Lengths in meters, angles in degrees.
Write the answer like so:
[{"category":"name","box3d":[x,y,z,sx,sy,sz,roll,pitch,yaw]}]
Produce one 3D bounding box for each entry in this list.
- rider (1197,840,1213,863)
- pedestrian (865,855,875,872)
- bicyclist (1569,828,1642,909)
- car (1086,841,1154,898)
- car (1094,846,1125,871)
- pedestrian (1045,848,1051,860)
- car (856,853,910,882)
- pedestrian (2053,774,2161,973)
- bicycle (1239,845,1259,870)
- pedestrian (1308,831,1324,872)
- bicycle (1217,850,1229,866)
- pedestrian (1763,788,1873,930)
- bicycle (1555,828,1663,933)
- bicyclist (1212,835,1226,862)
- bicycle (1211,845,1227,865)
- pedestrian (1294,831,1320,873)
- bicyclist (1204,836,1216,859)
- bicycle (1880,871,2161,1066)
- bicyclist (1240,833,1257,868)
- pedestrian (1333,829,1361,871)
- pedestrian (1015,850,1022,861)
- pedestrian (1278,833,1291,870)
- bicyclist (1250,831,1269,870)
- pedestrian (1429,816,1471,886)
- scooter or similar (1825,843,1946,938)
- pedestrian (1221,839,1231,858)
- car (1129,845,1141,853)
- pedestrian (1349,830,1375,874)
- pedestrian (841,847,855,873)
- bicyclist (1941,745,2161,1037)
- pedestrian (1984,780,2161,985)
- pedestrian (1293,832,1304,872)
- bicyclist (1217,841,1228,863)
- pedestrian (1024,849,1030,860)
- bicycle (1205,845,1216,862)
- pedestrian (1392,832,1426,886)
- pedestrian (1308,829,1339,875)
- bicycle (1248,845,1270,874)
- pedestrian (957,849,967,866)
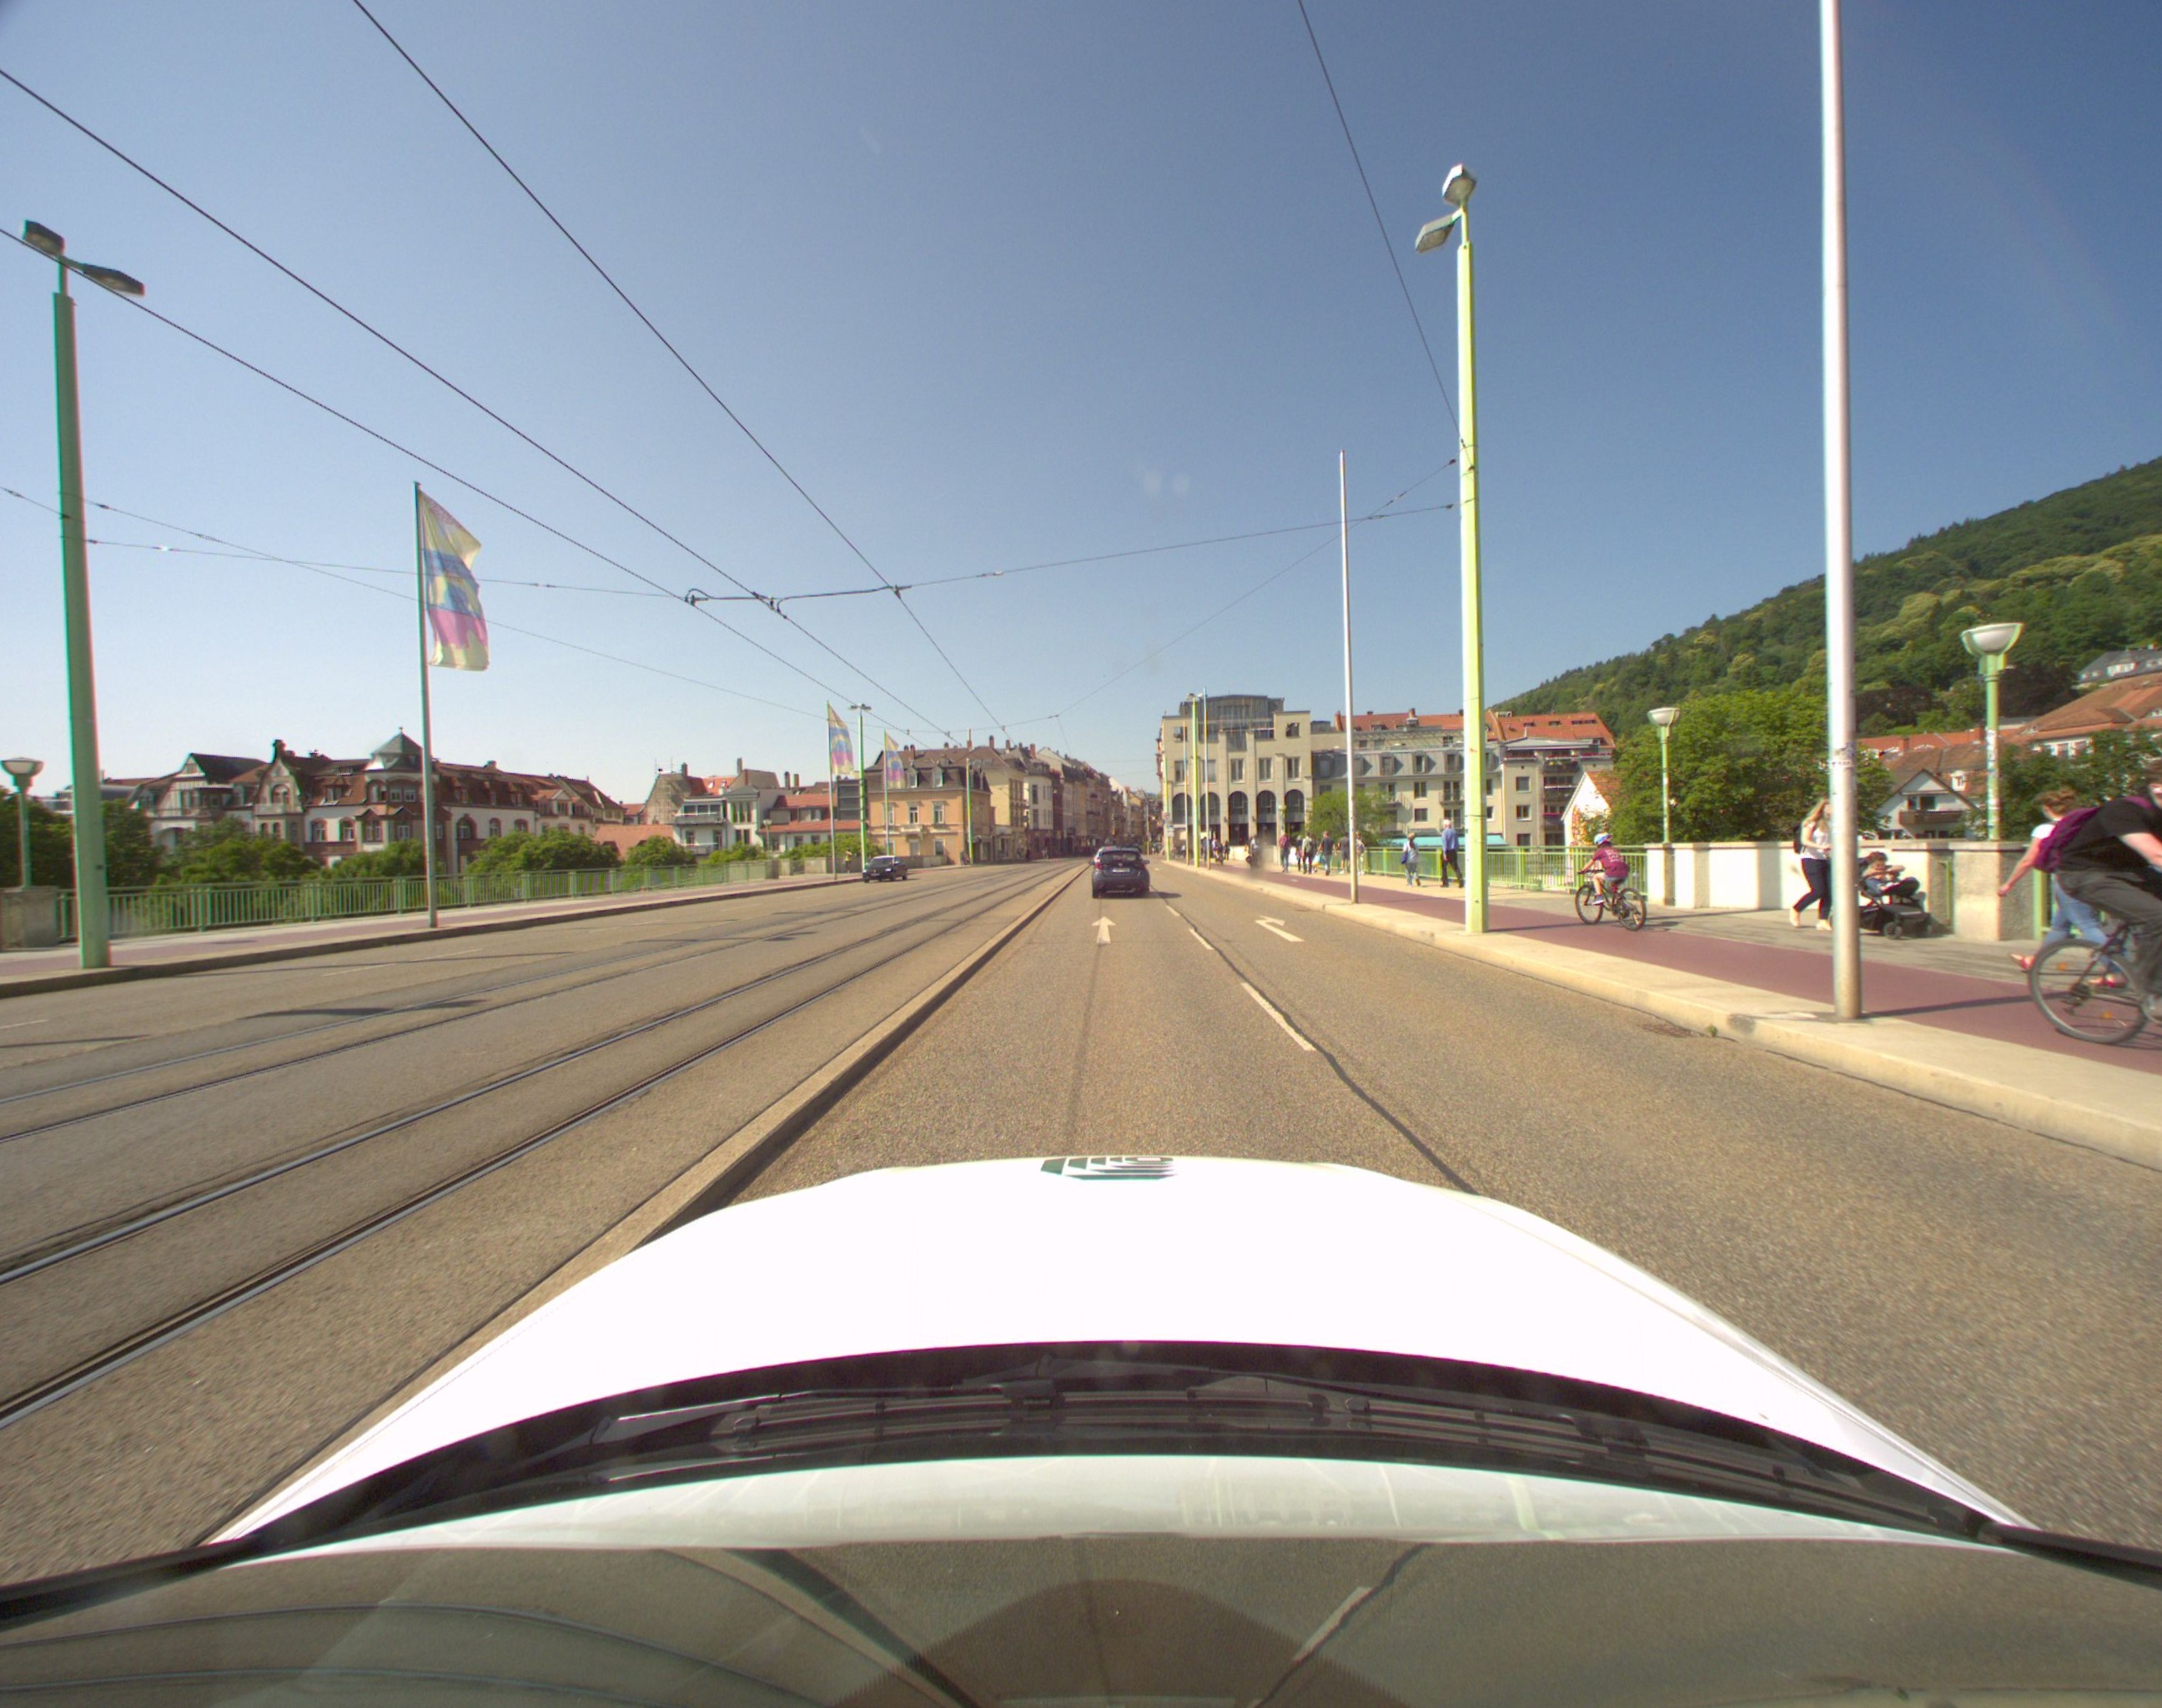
[{"category":"rider","box3d":[8.408,-0.194,55.217,0.886,1.504,0.841,-2,1,0]},{"category":"pedestrian","box3d":[-16.262,0.755,62.753,0.570,1.304,0.544,-1,1,4]},{"category":"bicyclist","box3d":[7.529,0.194,11.718,0.595,1.101,0.855,-1,1,12]},{"category":"car","box3d":[1.162,0.434,25.774,1.904,1.540,4.000,-2,2,0]},{"category":"car","box3d":[1.845,0.232,53.323,1.798,1.469,3.999,-3,1,-1]},{"category":"pedestrian","box3d":[-4.952,0.038,121.010,0.759,1.698,0.664,-1,1,4]},{"category":"car","box3d":[-11.158,0.735,46.203,1.987,1.479,4.000,-2,1,0]},{"category":"pedestrian","box3d":[8.916,0.145,6.781,0.597,1.586,0.867,-2,1,0]},{"category":"bicycle","box3d":[8.295,0.151,40.289,0.591,1.178,1.940,-2,1,1]},{"category":"pedestrian","box3d":[10.283,-0.108,35.674,0.526,1.748,0.729,0,0,2]},{"category":"bicycle","box3d":[9.958,0.303,57.147,0.663,1.049,2.032,-1,1,5]},{"category":"pedestrian","box3d":[9.583,0.058,10.623,0.639,1.756,0.867,-2,1,0]},{"category":"bicycle","box3d":[7.573,0.328,11.792,0.531,1.367,2.223,-1,1,12]},{"category":"bicyclist","box3d":[8.698,-0.339,51.331,0.713,1.676,0.869,-2,1,0]},{"category":"bicycle","box3d":[8.712,0.062,51.441,0.664,1.178,2.029,-2,1,1]},{"category":"pedestrian","box3d":[9.474,-0.085,34.101,0.831,1.689,0.869,-2,1,2]},{"category":"bicyclist","box3d":[9.463,-0.468,59.785,0.792,1.676,0.870,-1,1,5]},{"category":"bicycle","box3d":[6.123,0.635,4.806,0.651,0.981,2.178,-3,0,0]},{"category":"bicyclist","box3d":[8.273,-0.169,40.201,0.654,1.676,0.869,-2,1,0]},{"category":"pedestrian","box3d":[10.938,-0.185,33.509,0.831,1.689,0.869,-2,1,2]},{"category":"pedestrian","box3d":[-8.145,0.173,105.654,0.759,1.397,0.664,-1,1,4]},{"category":"pedestrian","box3d":[9.330,-0.105,37.360,0.424,1.671,0.620,1,0,2]},{"category":"bicyclist","box3d":[7.877,-0.148,36.042,0.625,1.689,0.869,-2,1,0]},{"category":"pedestrian","box3d":[9.867,-0.077,21.799,0.710,1.810,0.848,-2,1,2]},{"category":"scooter or similar","box3d":[9.589,0.412,9.742,0.586,1.069,0.865,-2,1,0]},{"category":"pedestrian","box3d":[11.485,-0.421,64.390,0.654,1.450,0.644,-2,1,-1]},{"category":"car","box3d":[10.185,-0.902,153.145,1.868,1.409,4.009,-1,1,7]},{"category":"pedestrian","box3d":[10.796,-0.091,31.338,0.709,1.651,0.849,-2,1,3]},{"category":"pedestrian","box3d":[-16.498,0.422,57.679,0.759,1.786,0.664,-1,1,4]},{"category":"bicyclist","box3d":[6.099,0.182,4.763,0.651,1.566,1.337,-3,0,0]},{"category":"pedestrian","box3d":[8.306,0.214,6.783,0.597,1.586,0.867,-2,1,0]},{"category":"pedestrian","box3d":[10.007,-0.090,37.535,0.366,1.794,0.604,0,0,2]},{"category":"bicyclist","box3d":[9.934,-0.154,57.050,0.648,1.529,0.976,-1,1,5]},{"category":"pedestrian","box3d":[-7.126,0.078,107.711,0.759,1.397,0.664,-1,1,4]},{"category":"bicycle","box3d":[9.478,-0.045,59.720,0.663,1.178,2.032,-1,1,5]},{"category":"pedestrian","box3d":[9.197,0.138,22.844,0.611,1.465,0.848,-2,1,2]},{"category":"pedestrian","box3d":[9.588,-0.091,32.261,0.926,1.761,0.938,-2,1,2]},{"category":"bicycle","box3d":[7.878,0.227,36.038,0.524,1.178,2.029,-2,1,1]},{"category":"pedestrian","box3d":[-11.988,0.332,82.034,0.759,1.665,0.664,-1,1,4]}]
